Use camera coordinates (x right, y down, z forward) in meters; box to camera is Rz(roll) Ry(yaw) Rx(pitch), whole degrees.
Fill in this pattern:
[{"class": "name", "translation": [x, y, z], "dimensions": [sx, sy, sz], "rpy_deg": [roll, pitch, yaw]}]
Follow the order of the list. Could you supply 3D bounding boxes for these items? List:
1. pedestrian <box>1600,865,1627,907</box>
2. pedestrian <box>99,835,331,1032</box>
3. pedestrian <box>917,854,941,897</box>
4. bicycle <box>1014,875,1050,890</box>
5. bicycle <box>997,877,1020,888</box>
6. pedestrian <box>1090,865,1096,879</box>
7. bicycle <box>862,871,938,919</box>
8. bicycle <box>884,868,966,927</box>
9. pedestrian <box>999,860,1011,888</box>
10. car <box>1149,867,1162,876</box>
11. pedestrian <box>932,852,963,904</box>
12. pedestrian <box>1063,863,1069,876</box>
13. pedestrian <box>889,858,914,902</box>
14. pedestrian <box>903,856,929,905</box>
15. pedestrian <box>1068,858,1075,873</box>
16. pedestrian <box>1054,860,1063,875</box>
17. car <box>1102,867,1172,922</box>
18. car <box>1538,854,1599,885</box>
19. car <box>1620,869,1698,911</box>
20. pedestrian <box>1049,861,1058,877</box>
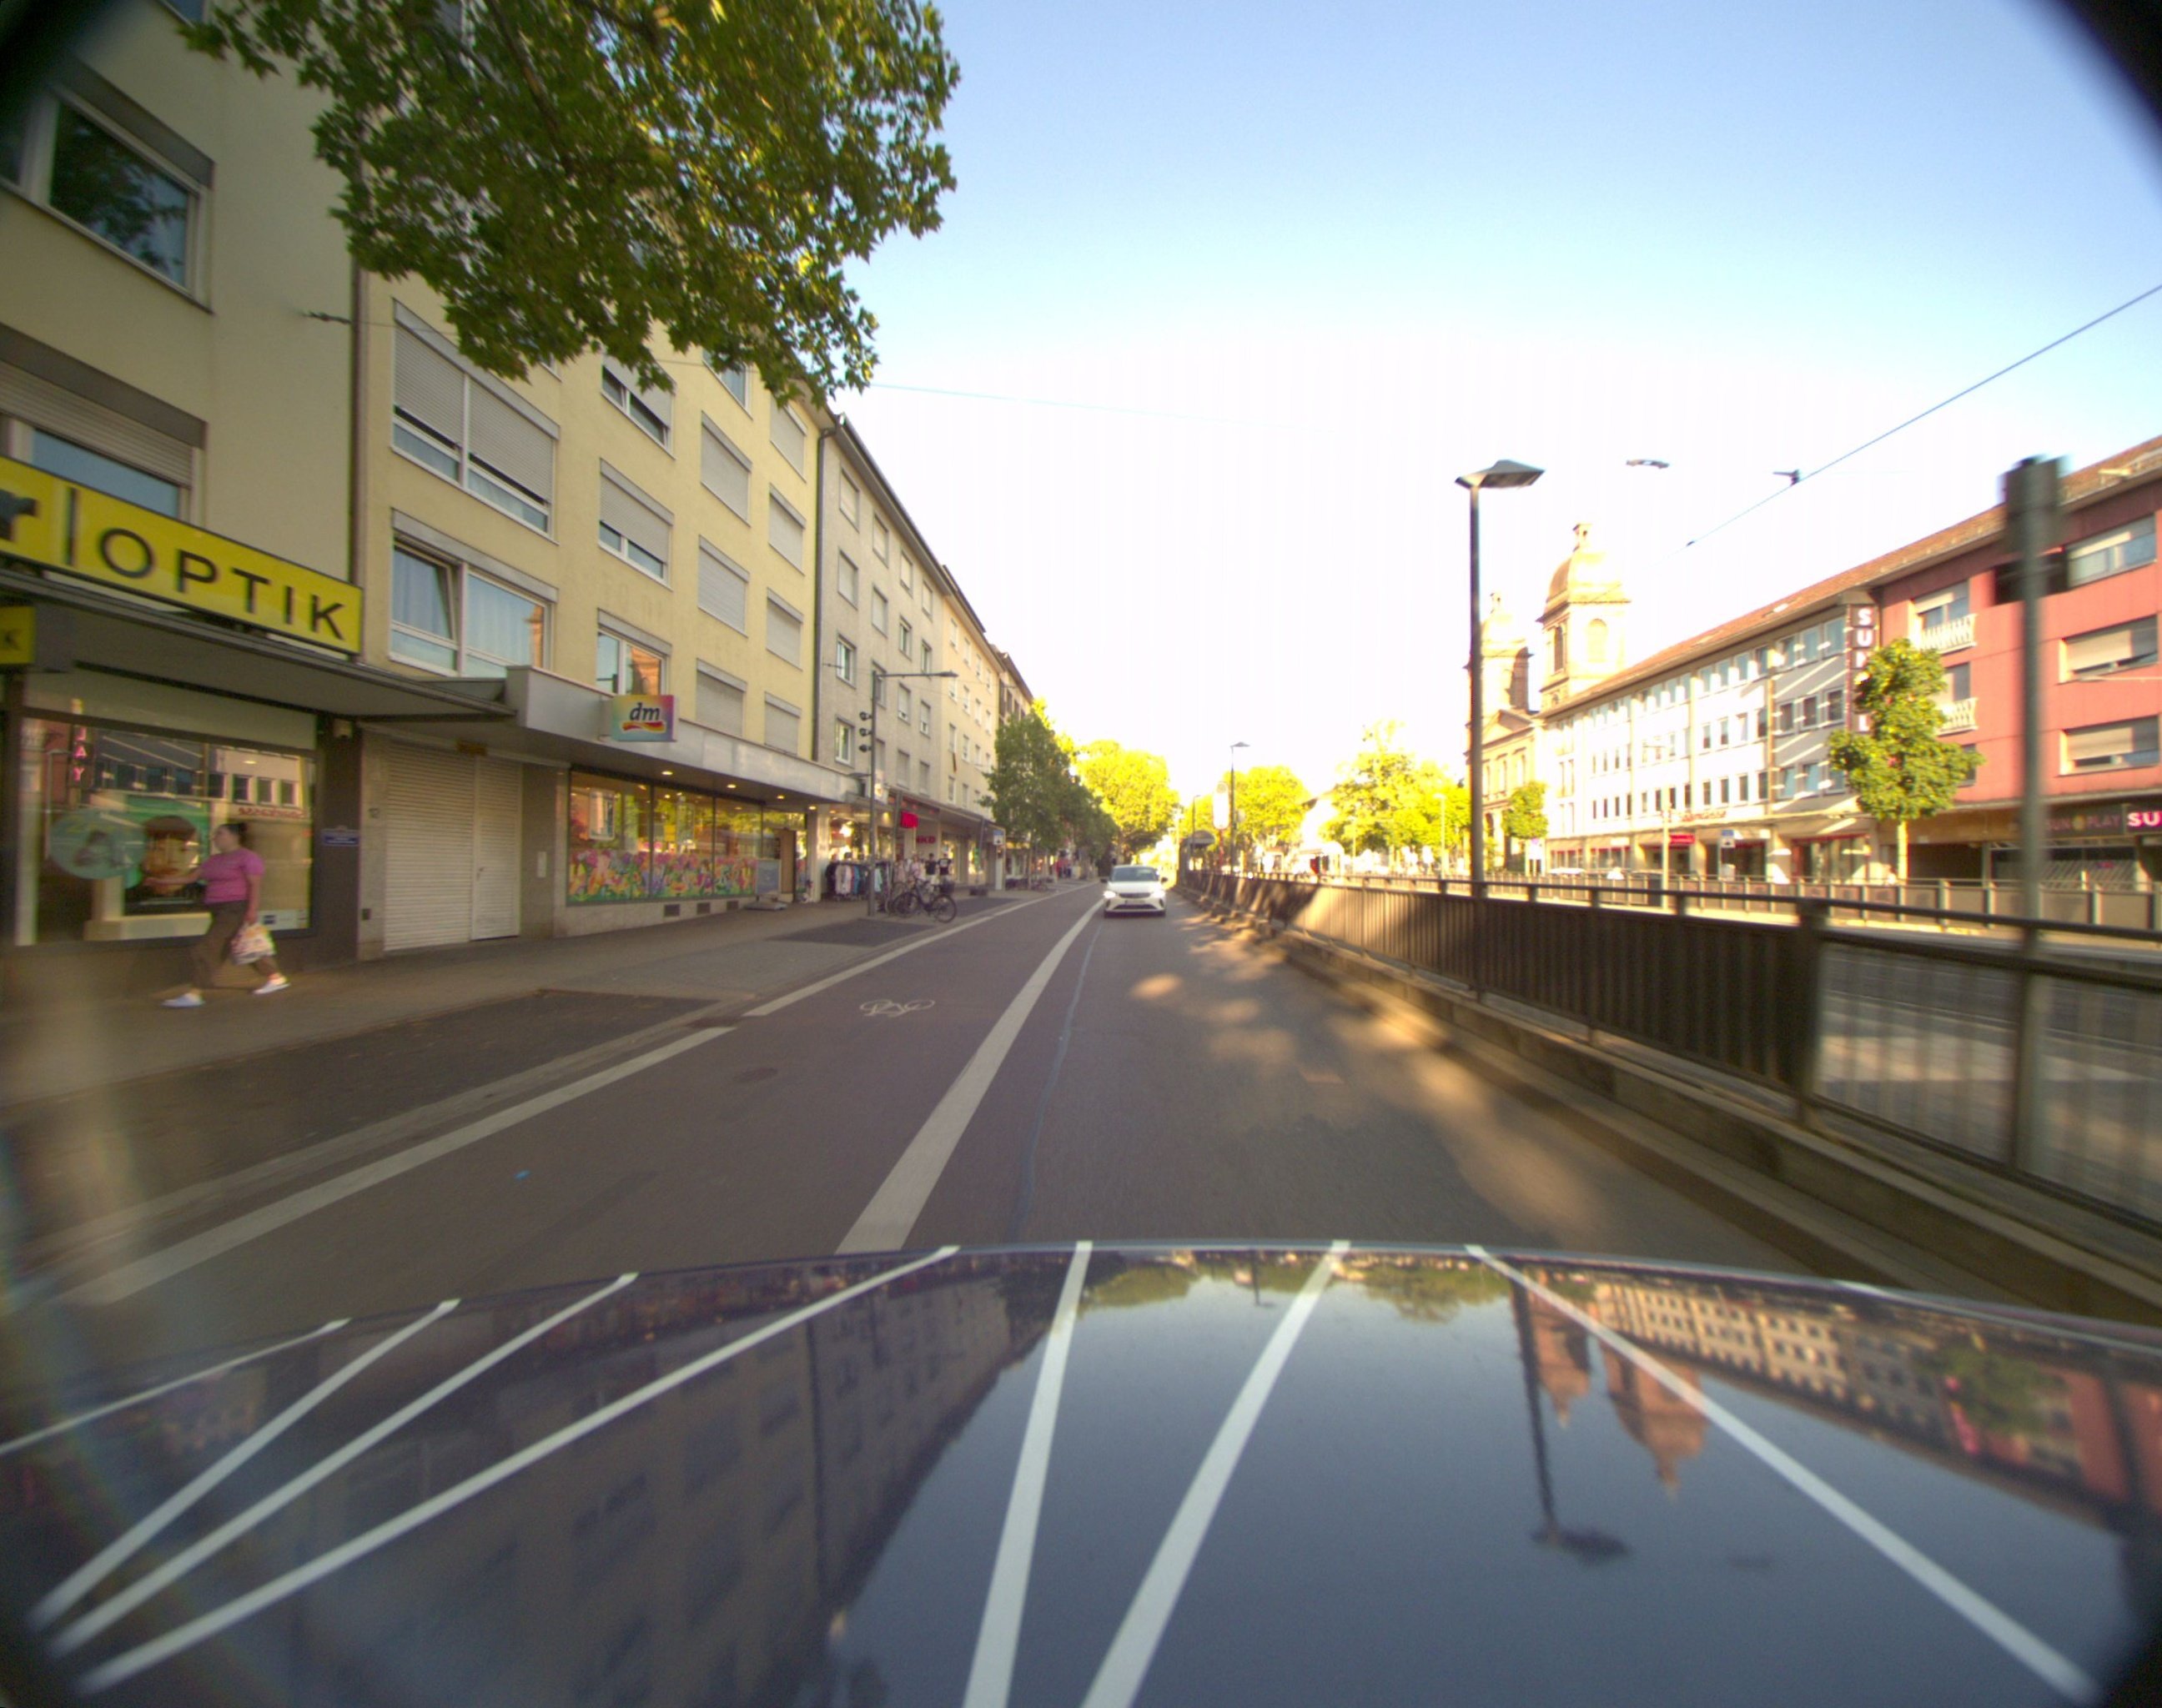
[{"class": "pedestrian", "translation": [23.168, 1.394, 33.041], "dimensions": [0.726, 1.777, 0.766], "rpy_deg": [-2, 0, -39]}, {"class": "pedestrian", "translation": [-8.405, 0.711, 7.443], "dimensions": [0.970, 1.753, 1.134], "rpy_deg": [1, 1, 4]}, {"class": "pedestrian", "translation": [-5.982, 0.841, 29.954], "dimensions": [0.569, 1.665, 1.070], "rpy_deg": [2, 0, 5]}, {"class": "bicycle", "translation": [-2.617, 1.514, 40.550], "dimensions": [1.762, 0.773, 0.702], "rpy_deg": [1, -1, -18]}, {"class": "bicycle", "translation": [-3.883, 1.511, 40.661], "dimensions": [0.840, 0.569, 1.758], "rpy_deg": [1, -1, -18]}, {"class": "pedestrian", "translation": [1.464, 2.165, 92.234], "dimensions": [0.634, 1.644, 0.651], "rpy_deg": [-2, 0, 4]}, {"class": "bicycle", "translation": [-4.818, 1.088, 20.210], "dimensions": [1.795, 1.118, 0.663], "rpy_deg": [5, 0, -23]}, {"class": "bicycle", "translation": [-3.932, 1.079, 19.158], "dimensions": [1.788, 1.304, 0.694], "rpy_deg": [5, 0, 16]}, {"class": "pedestrian", "translation": [-4.281, 1.123, 42.964], "dimensions": [0.490, 1.558, 0.648], "rpy_deg": [2, 0, 6]}, {"class": "car", "translation": [13.060, 3.061, 133.162], "dimensions": [1.718, 1.390, 4.000], "rpy_deg": [-2, 0, 0]}, {"class": "pedestrian", "translation": [-4.770, 0.851, 27.169], "dimensions": [0.775, 1.789, 0.931], "rpy_deg": [3, 0, 6]}, {"class": "pedestrian", "translation": [-1.775, 1.854, 90.935], "dimensions": [0.634, 1.644, 0.651], "rpy_deg": [-2, 0, 4]}, {"class": "pedestrian", "translation": [-6.268, 0.889, 26.540], "dimensions": [0.542, 1.493, 0.896], "rpy_deg": [2, -1, 4]}, {"class": "pedestrian", "translation": [-5.606, 0.900, 25.832], "dimensions": [0.547, 1.619, 0.896], "rpy_deg": [2, -1, 4]}, {"class": "pedestrian", "translation": [-1.068, 1.236, 83.799], "dimensions": [0.693, 1.665, 0.659], "rpy_deg": [2, 0, 4]}, {"class": "pedestrian", "translation": [-2.540, 1.559, 84.944], "dimensions": [0.851, 1.644, 0.916], "rpy_deg": [-2, 0, 4]}, {"class": "car", "translation": [1.604, 1.117, 22.132], "dimensions": [1.826, 1.433, 3.829], "rpy_deg": [-1, -1, 4]}, {"class": "car", "translation": [25.422, 0.788, 39.600], "dimensions": [4.008, 1.477, 1.739], "rpy_deg": [-1, 0, -43]}, {"class": "car", "translation": [24.784, 1.494, 32.524], "dimensions": [4.008, 1.521, 1.865], "rpy_deg": [-1, 0, -41]}, {"class": "pedestrian", "translation": [-2.801, 1.517, 77.626], "dimensions": [0.851, 1.644, 0.916], "rpy_deg": [-2, 0, 4]}]
